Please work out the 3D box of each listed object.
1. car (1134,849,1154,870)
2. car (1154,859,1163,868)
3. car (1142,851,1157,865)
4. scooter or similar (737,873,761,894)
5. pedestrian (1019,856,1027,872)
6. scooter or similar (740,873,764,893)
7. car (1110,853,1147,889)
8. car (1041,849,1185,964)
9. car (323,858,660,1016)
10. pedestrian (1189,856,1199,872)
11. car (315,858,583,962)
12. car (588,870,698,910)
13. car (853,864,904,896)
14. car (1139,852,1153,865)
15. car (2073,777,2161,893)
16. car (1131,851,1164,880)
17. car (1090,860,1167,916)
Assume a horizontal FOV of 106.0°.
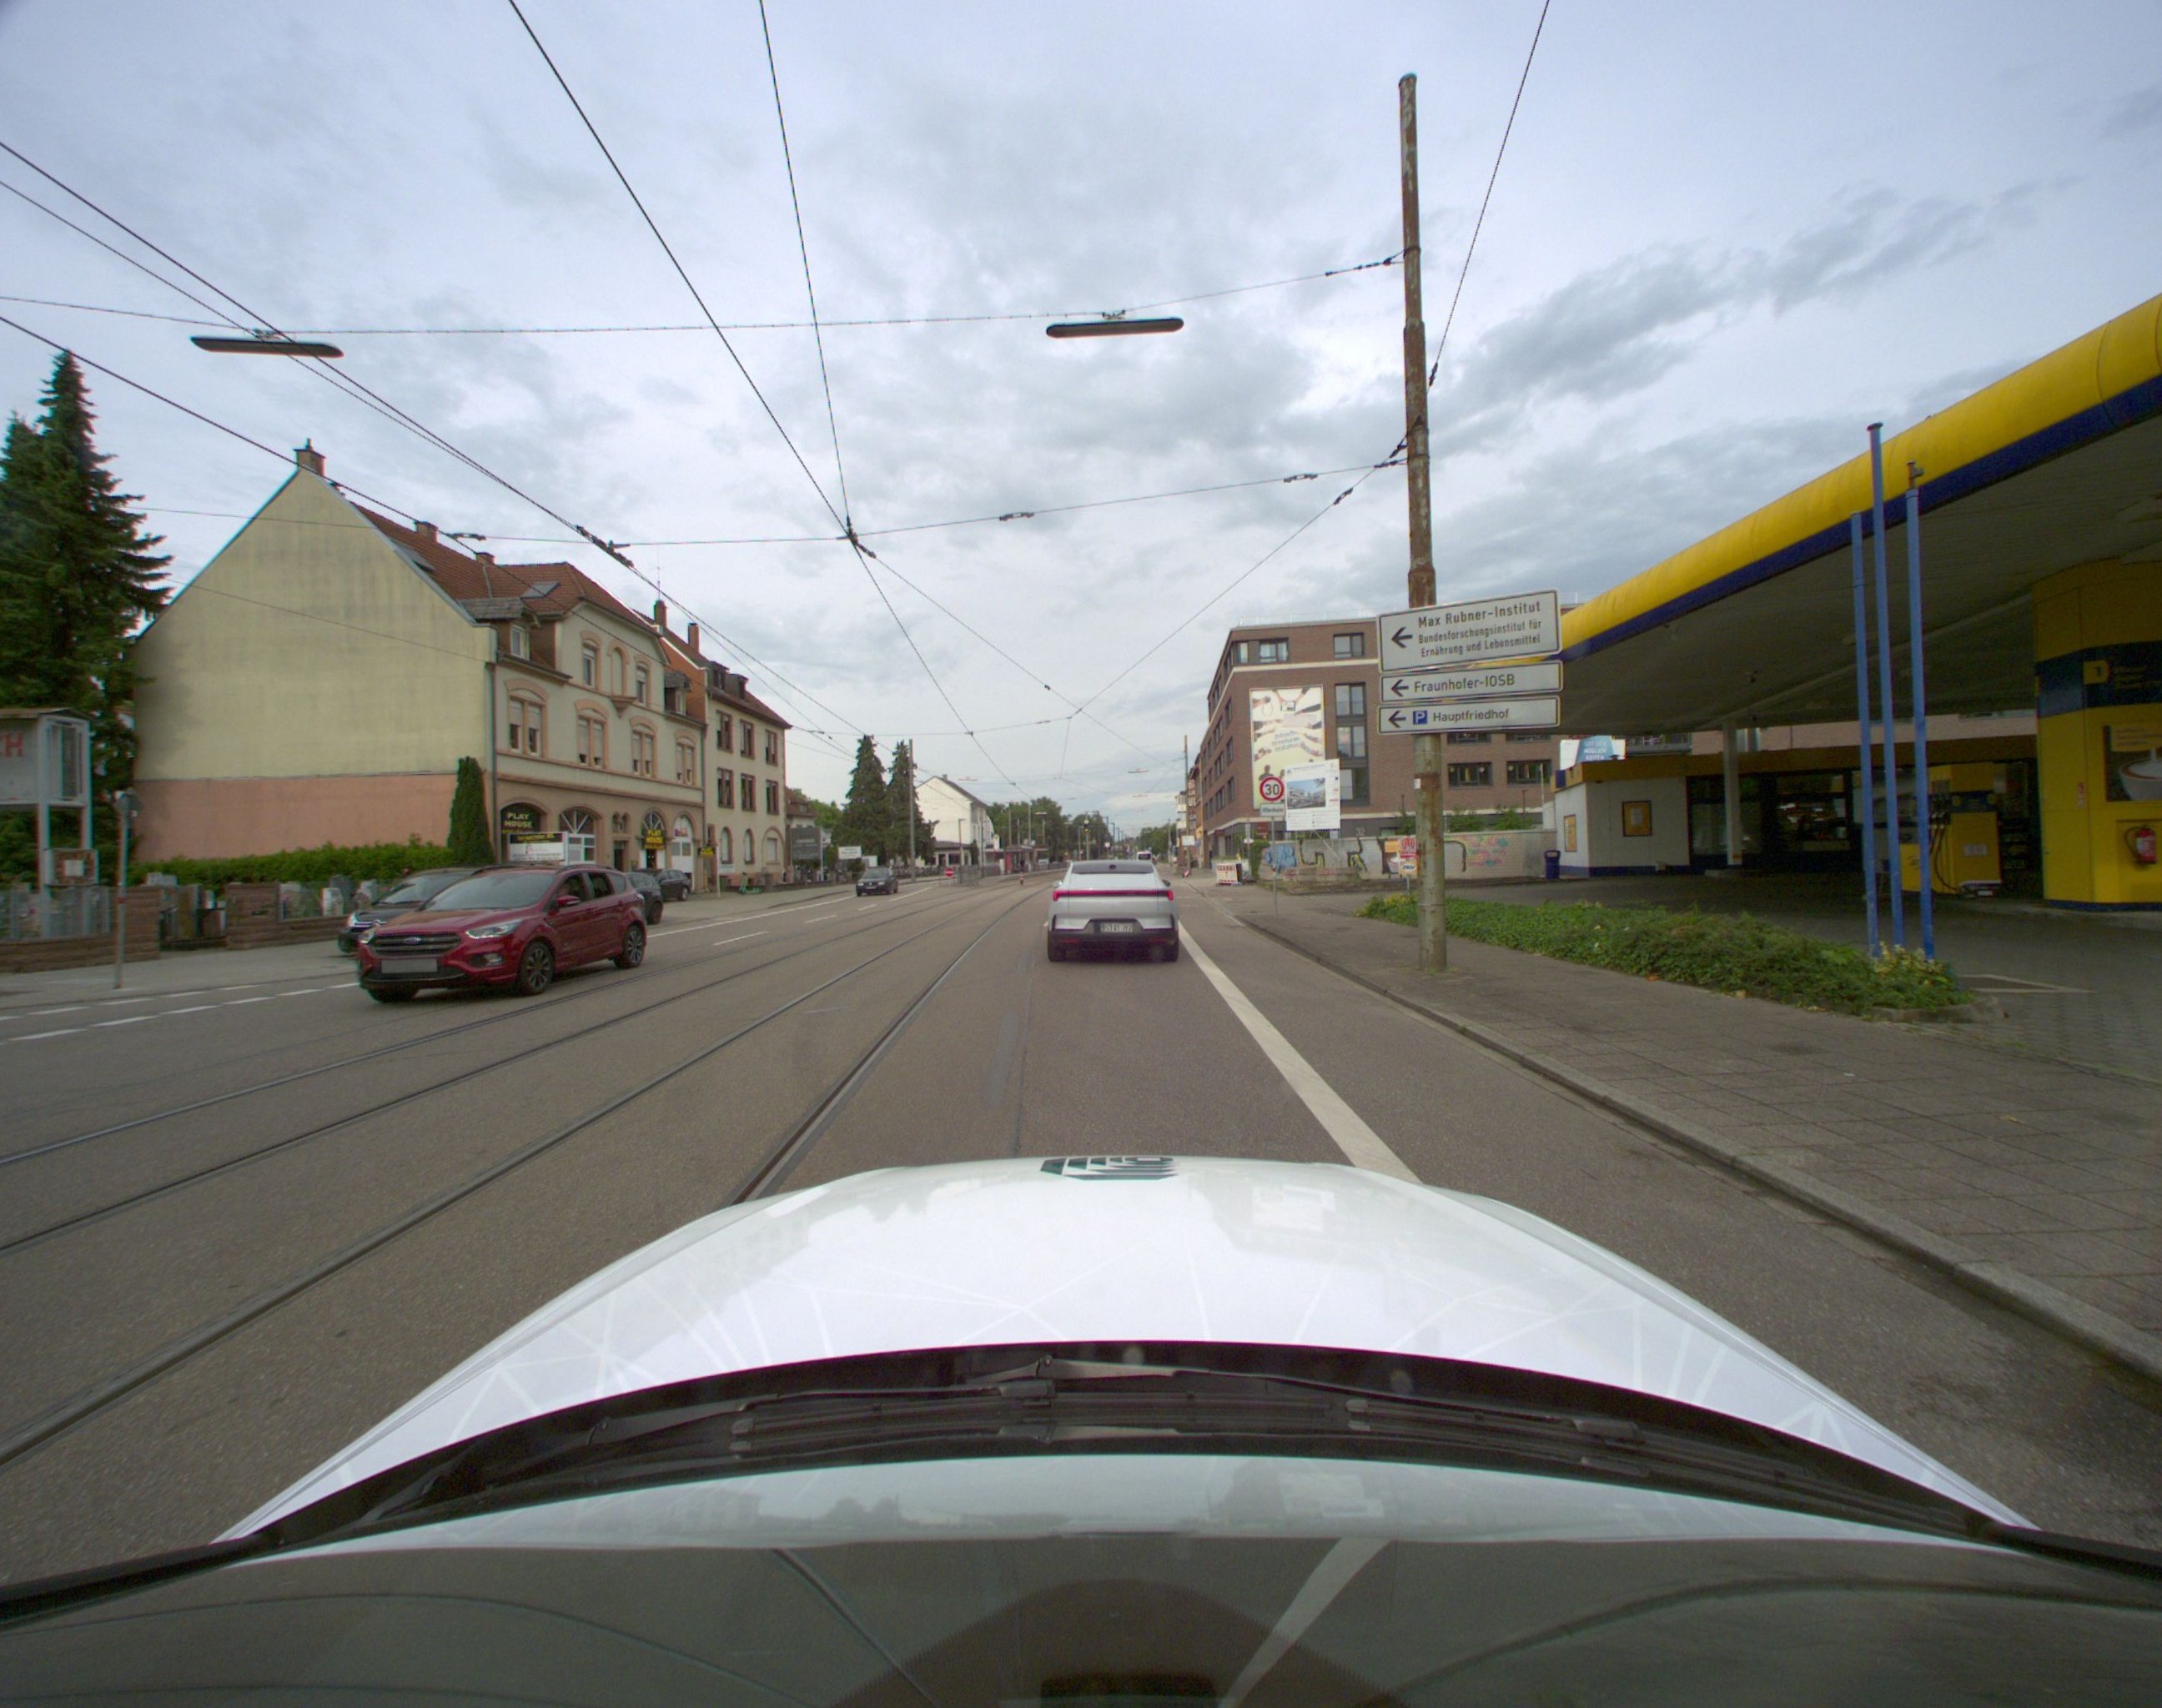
[{"bbox_3d":[7.555,0.647,98.285,2.218,2.402,5.124,-1,-1,1],"label":"car"},{"bbox_3d":[18.852,2.281,198.508,1.986,2.014,4.001,-1,-1,1],"label":"car"},{"bbox_3d":[10.047,0.657,119.950,1.986,2.014,4.001,-1,-1,2],"label":"car"},{"bbox_3d":[-18.059,1.575,44.320,1.181,1.102,0.523,0,-1,-29],"label":"scooter or similar"},{"bbox_3d":[-6.090,1.069,85.682,0.612,1.664,0.699,-1,-1,8],"label":"pedestrian"},{"bbox_3d":[-18.230,1.588,45.140,1.181,1.102,0.523,0,-1,-29],"label":"scooter or similar"},{"bbox_3d":[2.365,0.815,40.145,1.673,1.687,3.829,-1,-1,5],"label":"car"},{"bbox_3d":[0.470,0.767,13.391,1.992,1.581,4.000,-1,-1,0],"label":"car"},{"bbox_3d":[-7.860,0.967,11.508,1.840,1.724,4.398,-2,-1,-6],"label":"car"},{"bbox_3d":[13.742,1.247,98.915,0.954,1.850,0.978,-4,0,11],"label":"pedestrian"},{"bbox_3d":[-13.815,1.120,18.358,1.981,2.014,5.182,0,-1,-1],"label":"car"},{"bbox_3d":[-18.400,1.460,34.541,1.987,1.493,4.902,-1,-1,0],"label":"car"},{"bbox_3d":[-10.800,1.362,43.656,1.786,1.530,4.136,-4,-1,-3],"label":"car"},{"bbox_3d":[10.399,0.703,129.846,1.986,2.014,4.001,-1,-1,2],"label":"car"},{"bbox_3d":[19.242,-0.365,13.310,1.803,1.988,4.274,-3,-2,19],"label":"car"},{"bbox_3d":[4.530,0.757,55.694,1.986,1.816,4.001,-2,0,1],"label":"car"},{"bbox_3d":[1.404,0.935,23.851,1.985,1.420,4.004,-2,0,4],"label":"car"}]
